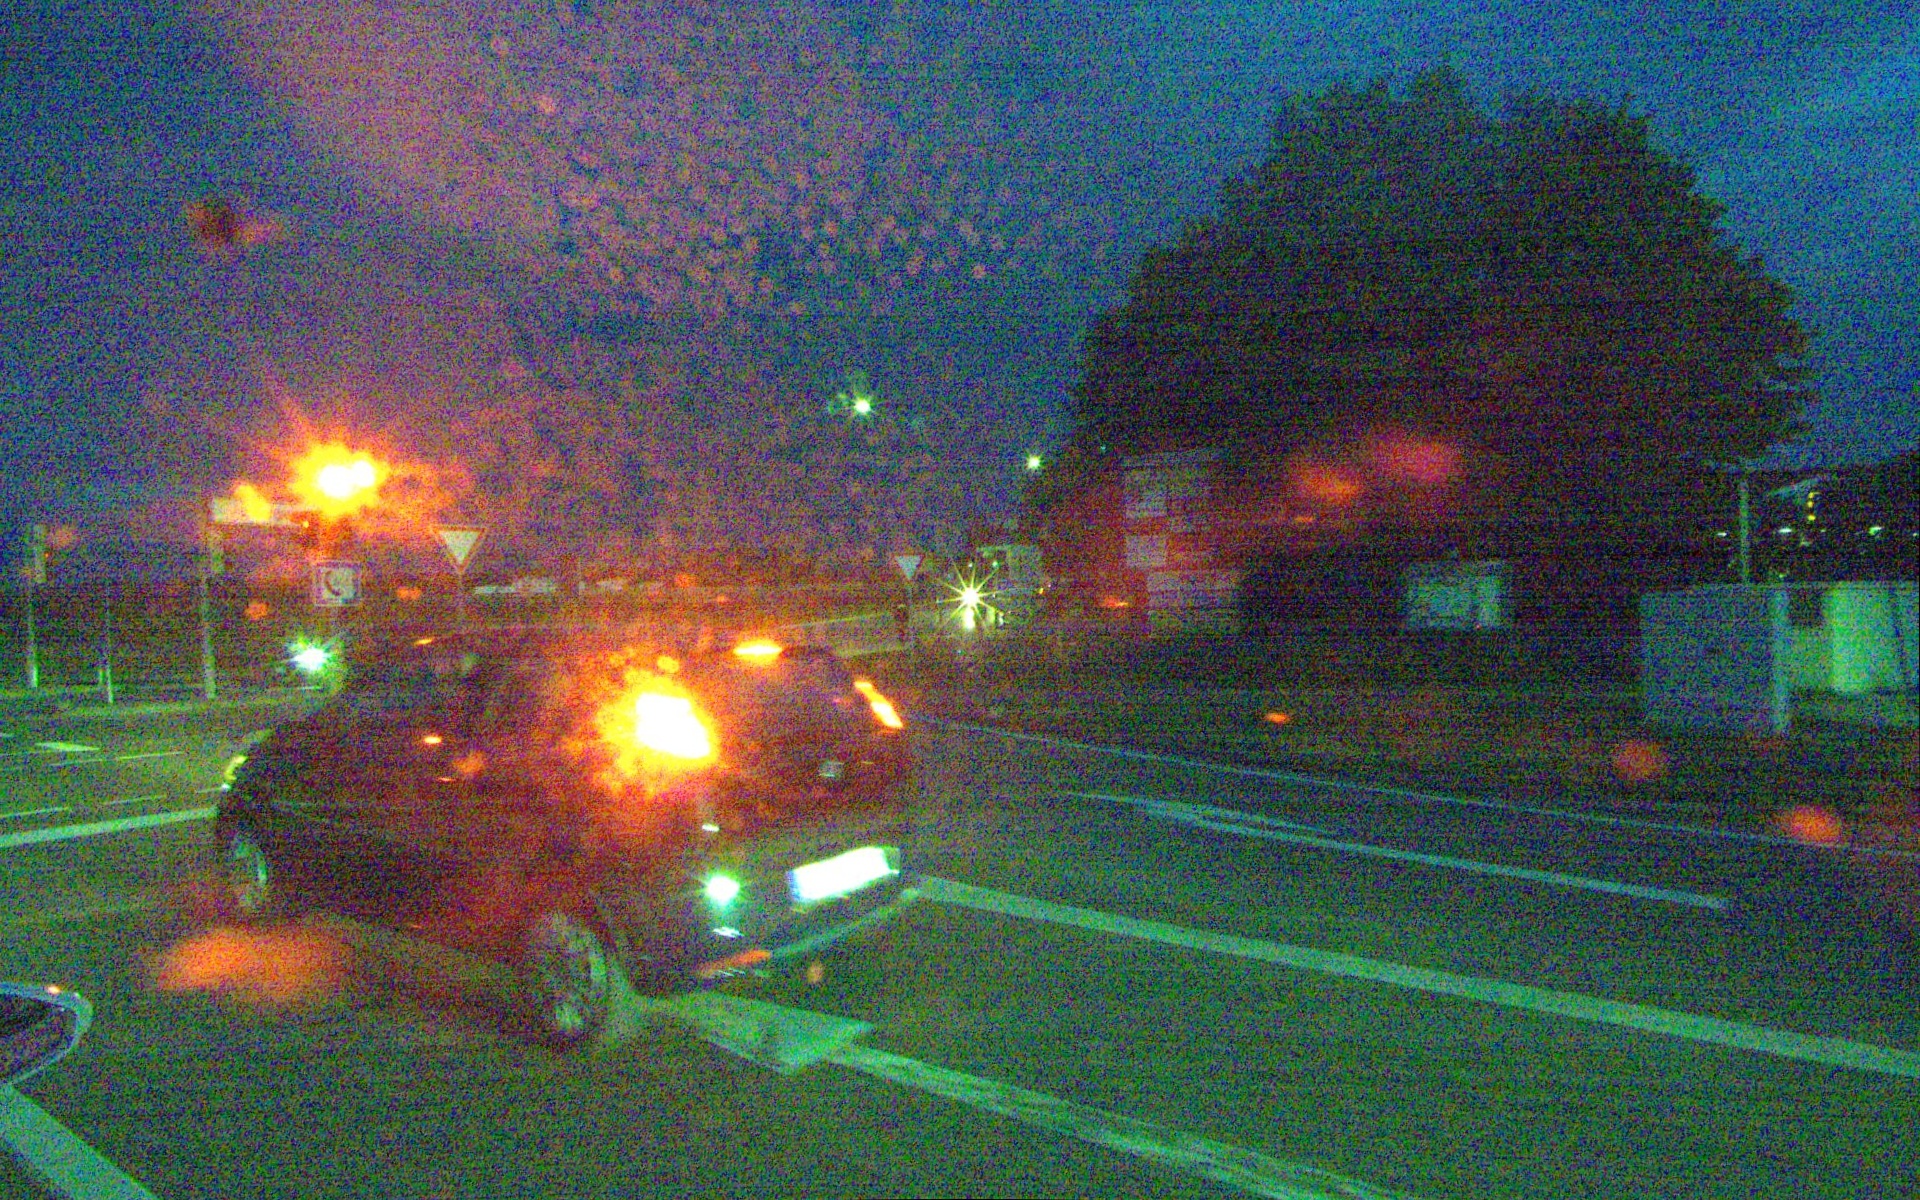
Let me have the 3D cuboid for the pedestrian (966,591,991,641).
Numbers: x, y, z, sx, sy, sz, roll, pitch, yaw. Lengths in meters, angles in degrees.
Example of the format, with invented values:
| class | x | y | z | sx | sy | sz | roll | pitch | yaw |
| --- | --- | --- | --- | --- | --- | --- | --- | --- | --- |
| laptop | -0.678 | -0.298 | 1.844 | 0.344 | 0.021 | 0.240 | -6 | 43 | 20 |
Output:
| class | x | y | z | sx | sy | sz | roll | pitch | yaw |
| --- | --- | --- | --- | --- | --- | --- | --- | --- | --- |
| pedestrian | 0.716 | 0.608 | 38.513 | 0.860 | 1.925 | 0.660 | -1 | 1 | 6 |

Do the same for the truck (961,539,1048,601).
| class | x | y | z | sx | sy | sz | roll | pitch | yaw |
| --- | --- | --- | --- | --- | --- | --- | --- | --- | --- |
| truck | 3.353 | -2.043 | 71.128 | 2.876 | 4.033 | 10.042 | -1 | 1 | 23 |

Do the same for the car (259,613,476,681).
| class | x | y | z | sx | sy | sz | roll | pitch | yaw |
| --- | --- | --- | --- | --- | --- | --- | --- | --- | --- |
| car | -15.665 | 1.169 | 26.742 | 1.972 | 1.541 | 4.589 | 0 | 1 | 33 |

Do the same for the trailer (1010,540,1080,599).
| class | x | y | z | sx | sy | sz | roll | pitch | yaw |
| --- | --- | --- | --- | --- | --- | --- | --- | --- | --- |
| trailer | 6.910 | -2.509 | 79.796 | 2.875 | 4.361 | 9.043 | -1 | 3 | 22 |

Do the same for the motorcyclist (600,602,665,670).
| class | x | y | z | sx | sy | sz | roll | pitch | yaw |
| --- | --- | --- | --- | --- | --- | --- | --- | --- | --- |
| motorcyclist | -7.940 | 0.860 | 24.301 | 1.122 | 1.606 | 0.969 | 0 | 1 | 25 |

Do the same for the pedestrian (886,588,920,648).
| class | x | y | z | sx | sy | sz | roll | pitch | yaw |
| --- | --- | --- | --- | --- | --- | --- | --- | --- | --- |
| pedestrian | -1.815 | 0.558 | 32.093 | 0.861 | 1.859 | 0.731 | -3 | 1 | 6 |

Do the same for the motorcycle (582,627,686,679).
| class | x | y | z | sx | sy | sz | roll | pitch | yaw |
| --- | --- | --- | --- | --- | --- | --- | --- | --- | --- |
| motorcycle | -7.894 | 1.261 | 24.383 | 0.966 | 1.113 | 2.500 | 0 | 1 | 24 |

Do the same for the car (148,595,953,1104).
| class | x | y | z | sx | sy | sz | roll | pitch | yaw |
| --- | --- | --- | --- | --- | --- | --- | --- | --- | --- |
| car | -2.165 | 0.797 | 4.865 | 4.049 | 1.540 | 1.666 | -1 | -1 | 34 |
